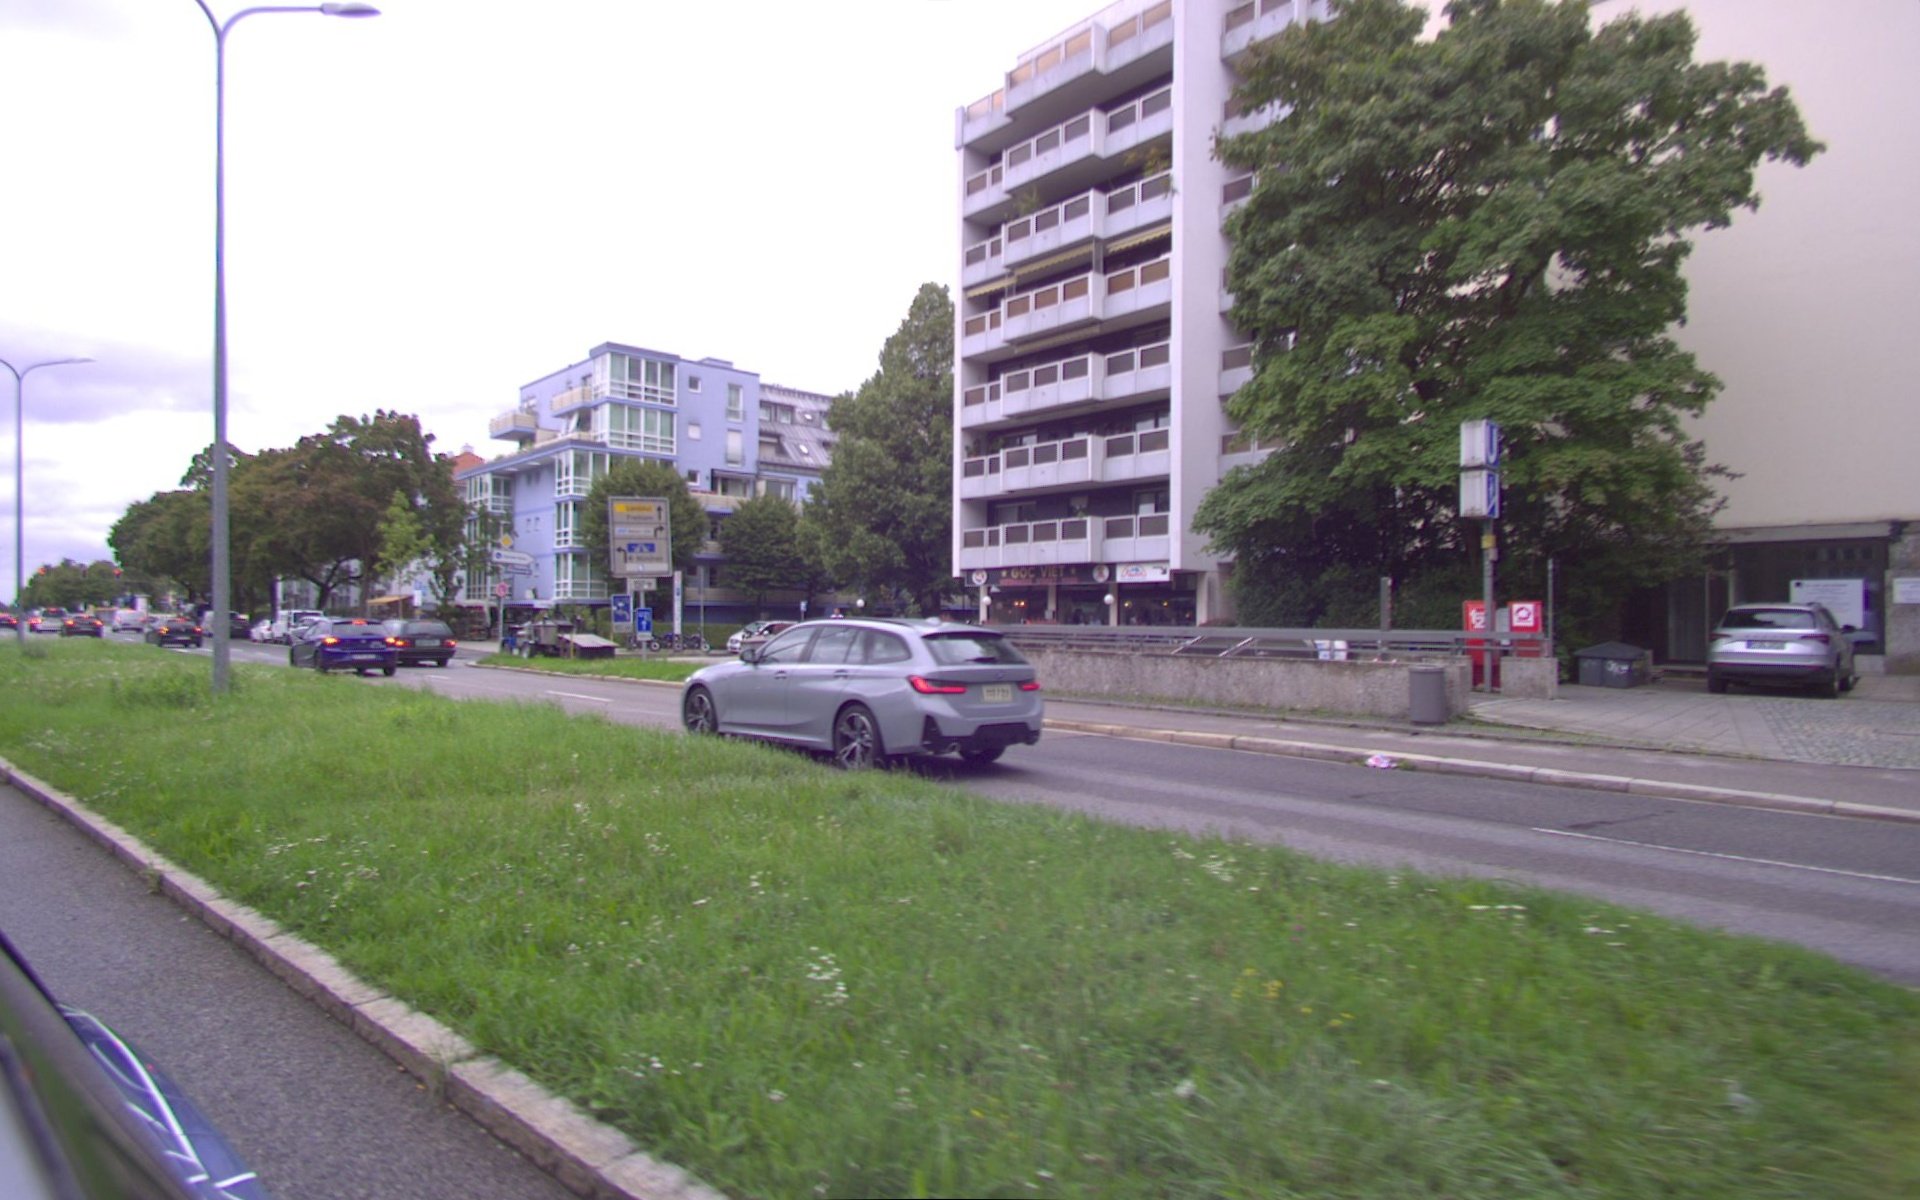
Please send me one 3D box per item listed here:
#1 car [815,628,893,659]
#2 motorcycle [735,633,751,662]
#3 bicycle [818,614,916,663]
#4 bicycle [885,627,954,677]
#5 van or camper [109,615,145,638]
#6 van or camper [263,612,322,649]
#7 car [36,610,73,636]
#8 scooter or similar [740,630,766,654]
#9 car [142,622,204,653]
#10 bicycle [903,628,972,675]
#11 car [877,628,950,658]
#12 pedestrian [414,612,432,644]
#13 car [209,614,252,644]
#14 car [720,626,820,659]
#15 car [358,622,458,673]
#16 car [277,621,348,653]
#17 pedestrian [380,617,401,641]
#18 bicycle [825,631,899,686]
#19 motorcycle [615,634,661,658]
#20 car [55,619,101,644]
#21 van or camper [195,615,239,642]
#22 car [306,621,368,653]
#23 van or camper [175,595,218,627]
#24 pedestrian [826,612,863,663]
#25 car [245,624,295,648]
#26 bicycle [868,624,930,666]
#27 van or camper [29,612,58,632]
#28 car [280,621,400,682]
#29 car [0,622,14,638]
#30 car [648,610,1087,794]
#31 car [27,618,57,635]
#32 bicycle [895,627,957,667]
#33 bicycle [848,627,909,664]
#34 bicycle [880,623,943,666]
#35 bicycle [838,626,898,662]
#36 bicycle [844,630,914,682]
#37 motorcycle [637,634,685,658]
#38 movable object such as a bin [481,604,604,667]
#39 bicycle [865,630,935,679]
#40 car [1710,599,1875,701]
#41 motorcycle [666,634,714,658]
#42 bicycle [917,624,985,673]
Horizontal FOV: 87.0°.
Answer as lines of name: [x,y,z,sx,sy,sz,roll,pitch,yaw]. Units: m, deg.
car: [-6.105,2.473,58.446,2.001,1.695,4.200,-1,-2,44]
motorcycle: [-8.496,1.861,39.591,0.412,1.095,1.789,1,-2,-19]
bicycle: [-2.961,1.221,32.656,3.287,1.292,0.789,-4,2,-41]
bicycle: [-0.958,1.187,23.392,0.403,1.080,1.956,-4,2,-42]
van or camper: [-75.047,2.372,91.128,1.992,2.031,5.202,2,-2,-44]
van or camper: [-37.742,1.710,57.179,1.784,1.983,5.214,2,-2,-45]
car: [-71.483,1.819,79.879,1.917,2.013,4.708,2,-2,-44]
scooter or similar: [-8.491,1.716,41.557,0.440,0.966,1.142,0,-2,23]
car: [-37.708,1.790,48.459,4.103,1.416,1.762,-1,-2,44]
bicycle: [-0.554,1.187,23.808,0.403,1.038,1.956,-4,2,-42]
car: [-2.753,2.568,61.185,2.001,1.695,4.200,-1,-2,44]
pedestrian: [-31.286,1.633,58.951,0.779,1.819,0.636,-1,-2,38]
car: [-51.522,2.035,71.418,1.775,2.013,4.550,2,-2,-44]
car: [-10.124,2.268,54.310,2.001,1.695,5.044,-1,-2,44]
car: [-17.281,1.437,31.620,3.969,1.495,1.672,-1,-2,45]
car: [-34.096,1.920,53.246,4.657,1.628,1.683,-1,-2,38]
pedestrian: [-39.124,1.992,69.518,0.766,1.615,0.963,-1,-2,38]
bicycle: [-2.162,1.257,22.149,0.403,1.097,2.087,-4,2,-42]
motorcycle: [-15.798,2.250,49.631,2.463,1.141,0.494,0,-2,24]
car: [-55.440,1.949,63.588,1.934,1.491,4.262,2,-2,-44]
van or camper: [-55.578,2.134,75.698,1.997,1.957,4.708,2,-2,-44]
car: [-30.676,1.821,49.795,3.903,1.501,1.629,-1,-2,44]
van or camper: [-62.397,0.926,82.672,5.551,2.506,2.026,-1,-2,45]
pedestrian: [-3.935,1.273,34.534,1.130,1.721,0.662,-1,-2,40]
car: [-42.098,2.197,61.691,4.336,1.405,1.656,-1,-2,44]
bicycle: [-1.818,1.333,30.451,1.924,1.111,0.490,-4,2,-41]
van or camper: [-83.888,2.032,92.601,1.770,1.811,4.128,2,-2,-44]
car: [-15.731,1.258,25.607,3.969,1.413,1.672,-1,-2,45]
car: [-87.057,2.712,91.789,1.736,1.459,3.675,2,-2,-44]
car: [-1.185,0.886,10.627,4.866,1.495,1.893,-1,-2,44]
car: [-78.153,2.263,86.173,1.770,1.459,3.675,2,-2,-44]
bicycle: [-0.977,1.363,29.438,1.924,1.112,0.490,2,-2,-41]
bicycle: [-2.499,1.403,31.285,1.924,1.112,0.561,2,-2,-41]
bicycle: [-1.432,1.306,29.956,1.924,1.111,0.490,-4,2,-41]
bicycle: [-2.876,1.367,31.738,1.924,1.112,0.561,2,-2,-41]
bicycle: [-1.822,1.225,22.549,0.403,1.086,1.956,-4,2,-42]
motorcycle: [-14.898,2.279,50.415,2.458,1.141,0.495,0,-2,19]
movable object such as a bin: [-13.897,1.149,33.656,3.997,1.968,2.171,-1,-2,40]
bicycle: [-1.382,1.221,23.047,0.403,1.048,1.956,-4,2,-42]
car: [14.761,0.839,17.884,3.939,1.601,1.750,2,-2,-43]
motorcycle: [-13.695,2.319,51.349,2.457,1.141,0.495,0,-2,17]
bicycle: [-0.232,1.149,24.301,0.403,1.112,1.956,-4,2,-42]
